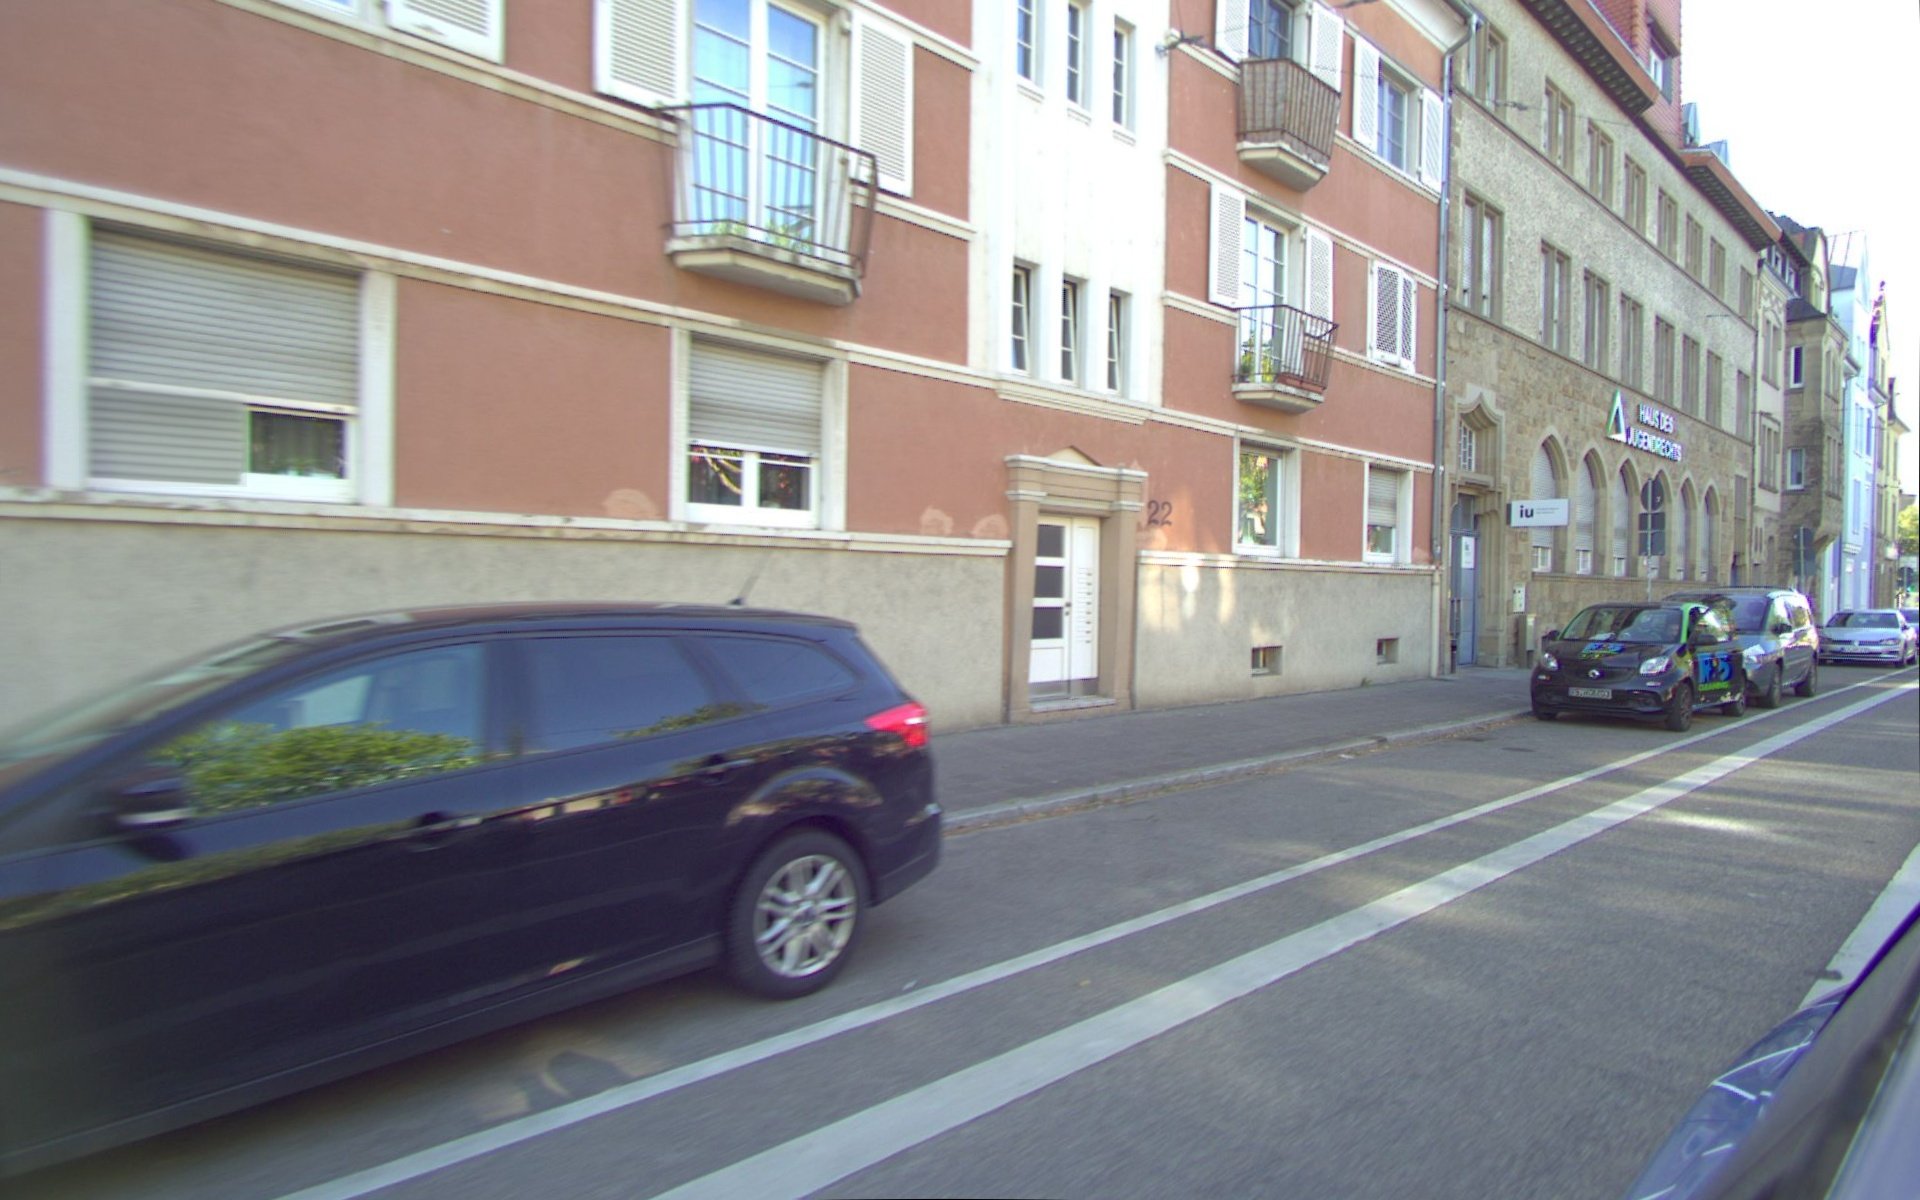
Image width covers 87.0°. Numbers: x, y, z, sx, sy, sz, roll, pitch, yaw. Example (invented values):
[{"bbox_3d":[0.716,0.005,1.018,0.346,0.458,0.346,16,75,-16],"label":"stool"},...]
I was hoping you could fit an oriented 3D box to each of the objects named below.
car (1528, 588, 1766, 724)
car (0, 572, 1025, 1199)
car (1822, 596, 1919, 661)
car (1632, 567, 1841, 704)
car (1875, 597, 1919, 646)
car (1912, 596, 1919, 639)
[{"bbox_3d":[9.034,0.638,13.211,3.650,1.531,1.634,0,-1,-40],"label":"car"},{"bbox_3d":[-2.009,0.712,3.511,4.683,1.531,1.755,0,-1,-44],"label":"car"},{"bbox_3d":[23.596,0.674,25.924,4.152,1.520,1.716,0,-1,-41],"label":"car"},{"bbox_3d":[12.451,0.475,16.101,4.731,1.879,1.756,0,0,-41],"label":"car"},{"bbox_3d":[31.049,0.655,32.616,4.121,1.520,1.756,0,-1,-40],"label":"car"},{"bbox_3d":[35.268,0.617,36.057,3.931,1.501,1.657,0,0,-42],"label":"car"}]
